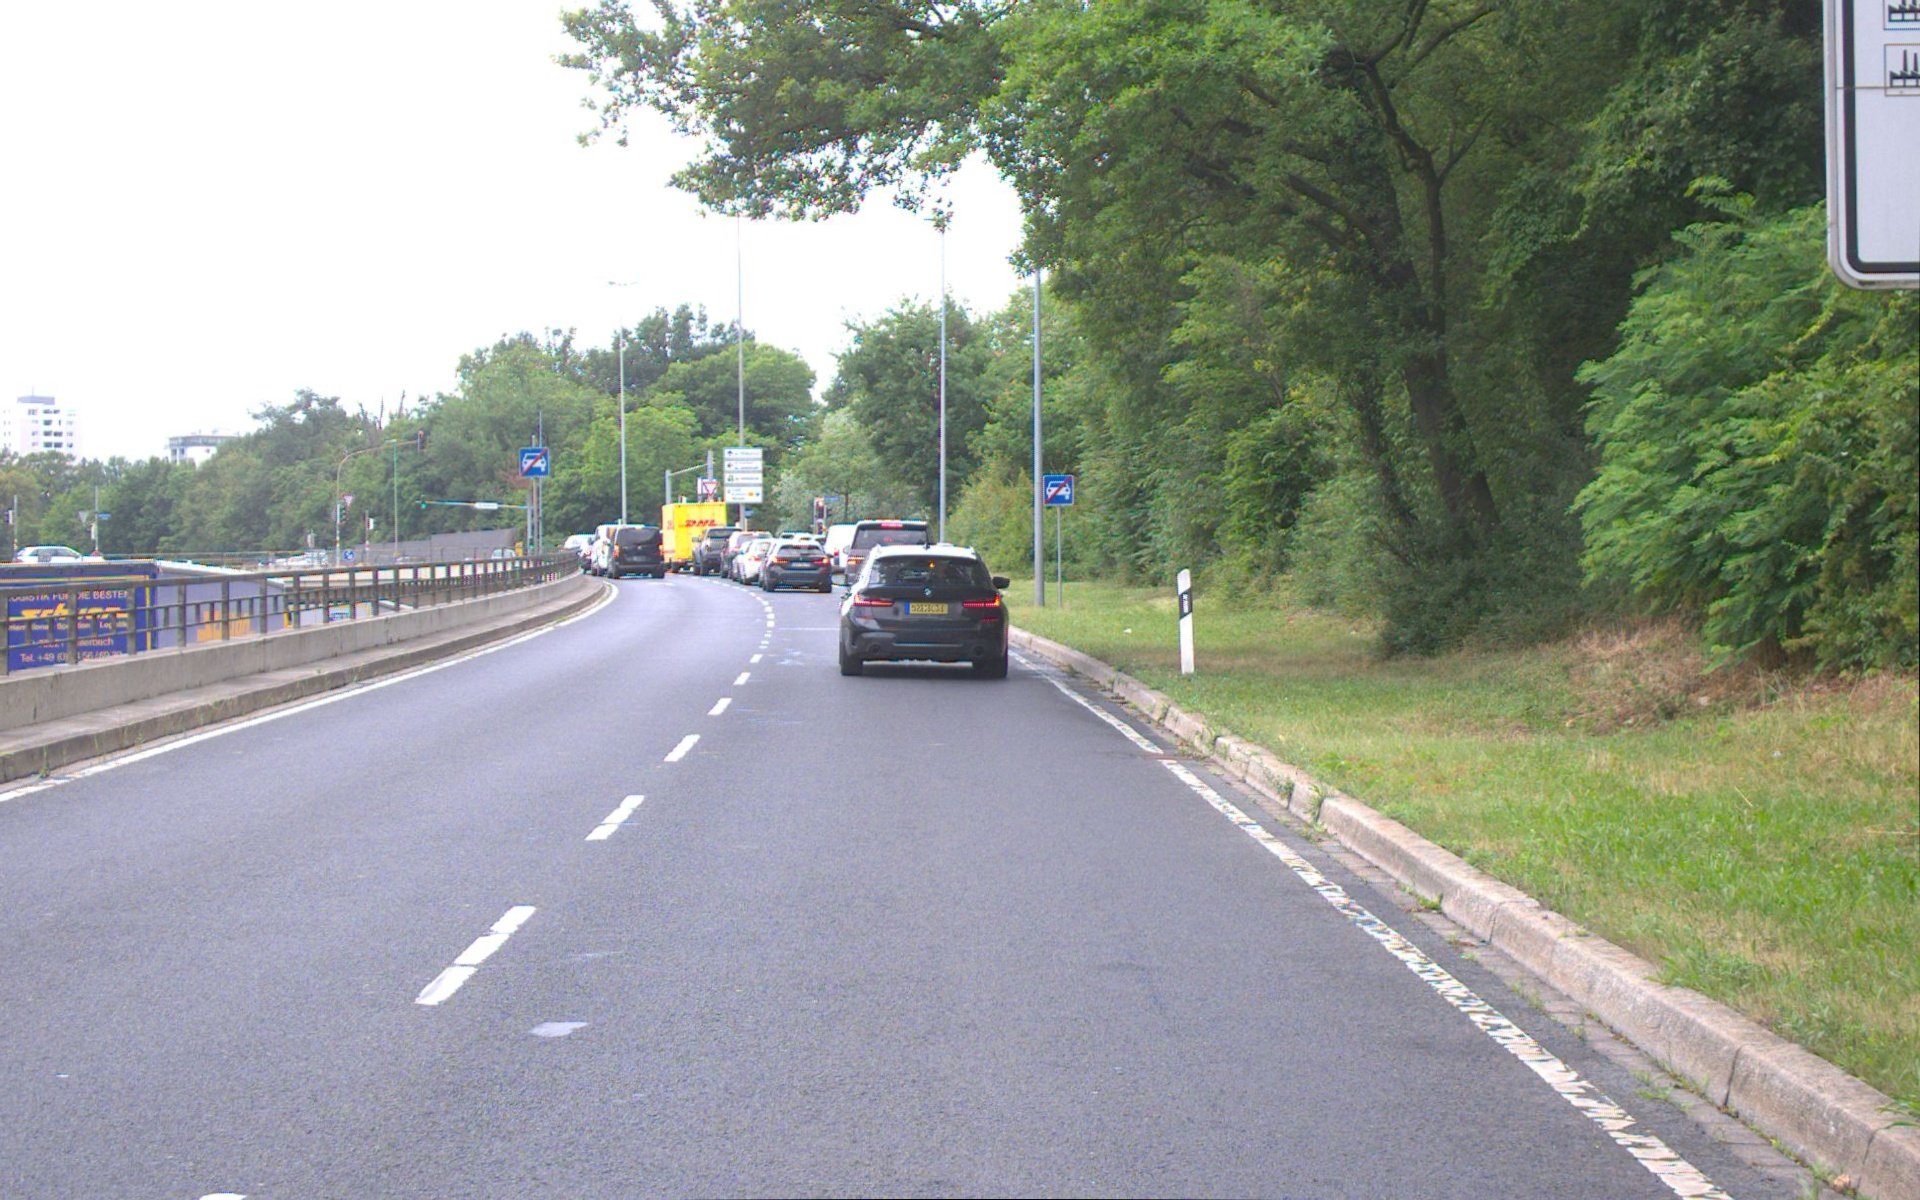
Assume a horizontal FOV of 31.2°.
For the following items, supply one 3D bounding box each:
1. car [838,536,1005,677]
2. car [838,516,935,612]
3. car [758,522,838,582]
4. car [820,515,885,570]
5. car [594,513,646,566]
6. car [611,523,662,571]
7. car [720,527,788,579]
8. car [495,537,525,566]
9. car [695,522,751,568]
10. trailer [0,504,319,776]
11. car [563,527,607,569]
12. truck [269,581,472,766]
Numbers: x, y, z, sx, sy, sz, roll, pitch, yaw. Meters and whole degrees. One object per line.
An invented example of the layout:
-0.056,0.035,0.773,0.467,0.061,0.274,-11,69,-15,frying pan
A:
-0.463,0.030,38.223,1.748,1.421,4.462,0,2,-2,car
-1.493,-0.733,70.389,1.899,1.878,4.416,1,1,-1,car
-4.515,-1.320,95.130,1.884,1.587,4.431,1,1,-7,car
-3.809,-2.005,121.207,1.884,1.873,4.431,1,1,-7,car
-13.317,-2.347,134.467,1.884,1.980,4.431,1,1,-7,car
-11.914,-1.947,126.426,1.623,1.696,4.297,1,1,-8,car
-6.567,-1.496,109.261,1.884,1.587,4.431,1,1,-7,car
-26.961,-2.874,205.967,1.623,1.696,4.297,1,1,-6,car
-9.076,-2.100,131.541,1.884,1.694,4.431,1,1,-7,car
-13.672,0.538,59.300,2.851,4.023,16.007,-1,0,-2,trailer
-15.530,-2.159,142.378,1.623,1.696,4.297,1,1,-8,car
-14.147,1.578,83.838,2.850,4.023,15.579,-1,0,-2,truck
